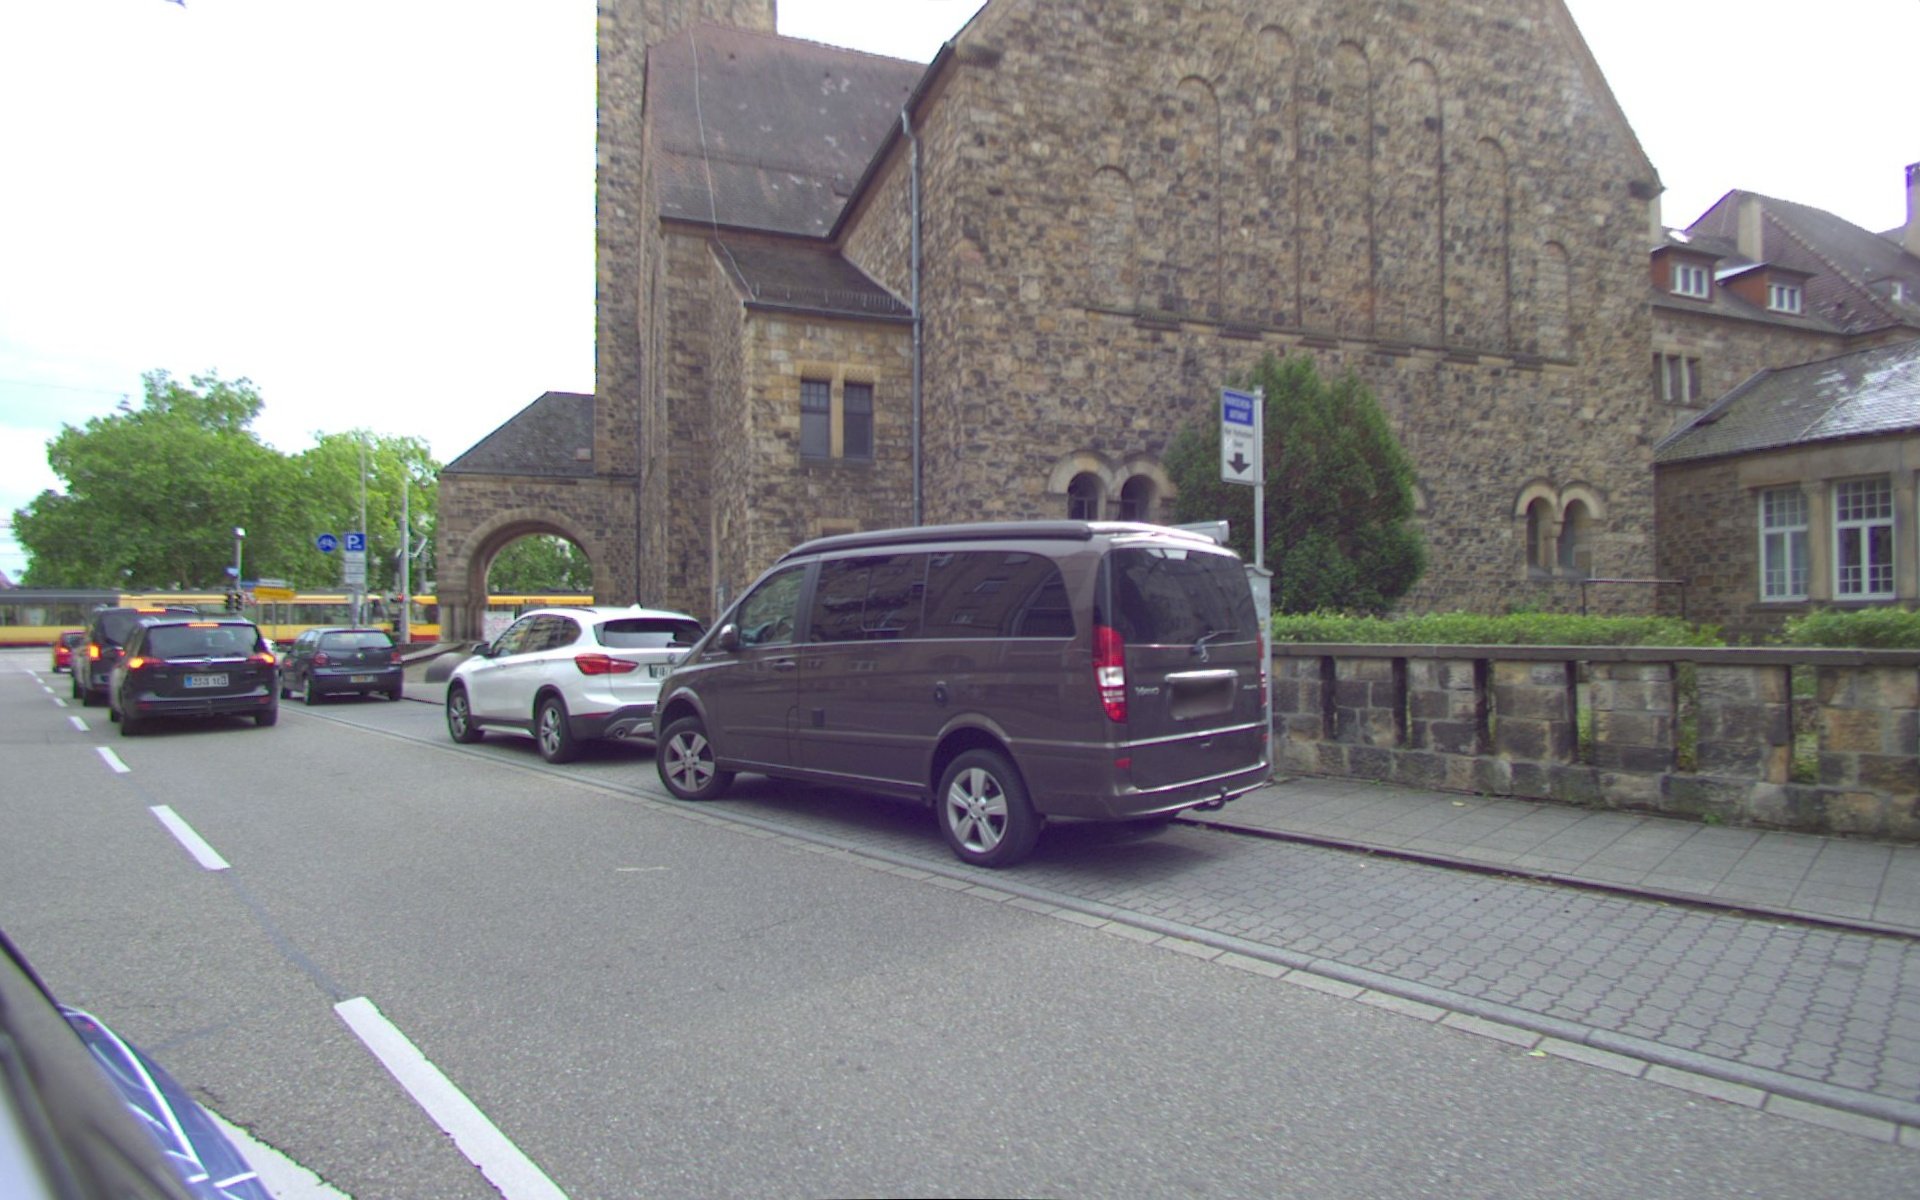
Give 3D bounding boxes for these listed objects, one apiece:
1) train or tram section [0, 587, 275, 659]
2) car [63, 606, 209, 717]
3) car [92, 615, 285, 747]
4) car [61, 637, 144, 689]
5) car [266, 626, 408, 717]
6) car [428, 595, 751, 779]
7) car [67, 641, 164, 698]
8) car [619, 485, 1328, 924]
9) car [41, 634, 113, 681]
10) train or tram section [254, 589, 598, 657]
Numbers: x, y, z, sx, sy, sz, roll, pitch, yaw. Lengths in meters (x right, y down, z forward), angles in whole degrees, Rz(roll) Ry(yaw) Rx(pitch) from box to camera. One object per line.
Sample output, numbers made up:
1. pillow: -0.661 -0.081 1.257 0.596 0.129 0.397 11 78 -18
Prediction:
1. train or tram section: -50.557 1.372 61.068 14.780 4.124 3.592 1 -1 -18
2. car: -16.836 1.191 20.565 1.889 1.969 5.288 1 -3 -44
3. car: -11.776 1.130 15.326 1.823 1.697 4.552 1 -3 -44
4. car: -26.217 1.893 30.913 1.583 1.468 3.720 5 -4 -45
5. car: -12.342 1.326 19.956 1.627 1.520 3.775 -1 0 -44
6. car: -4.405 0.894 11.624 1.822 1.701 4.435 1 -3 -44
7. car: -21.654 1.740 25.900 1.684 1.296 4.047 4 -4 -42
8. car: -0.318 0.569 7.248 1.990 2.029 5.186 1 -3 -44
9. car: -30.650 2.011 35.091 1.629 1.540 3.896 5 -6 -43
10. train or tram section: -34.189 1.535 66.376 19.605 4.124 3.639 1 -1 -18
